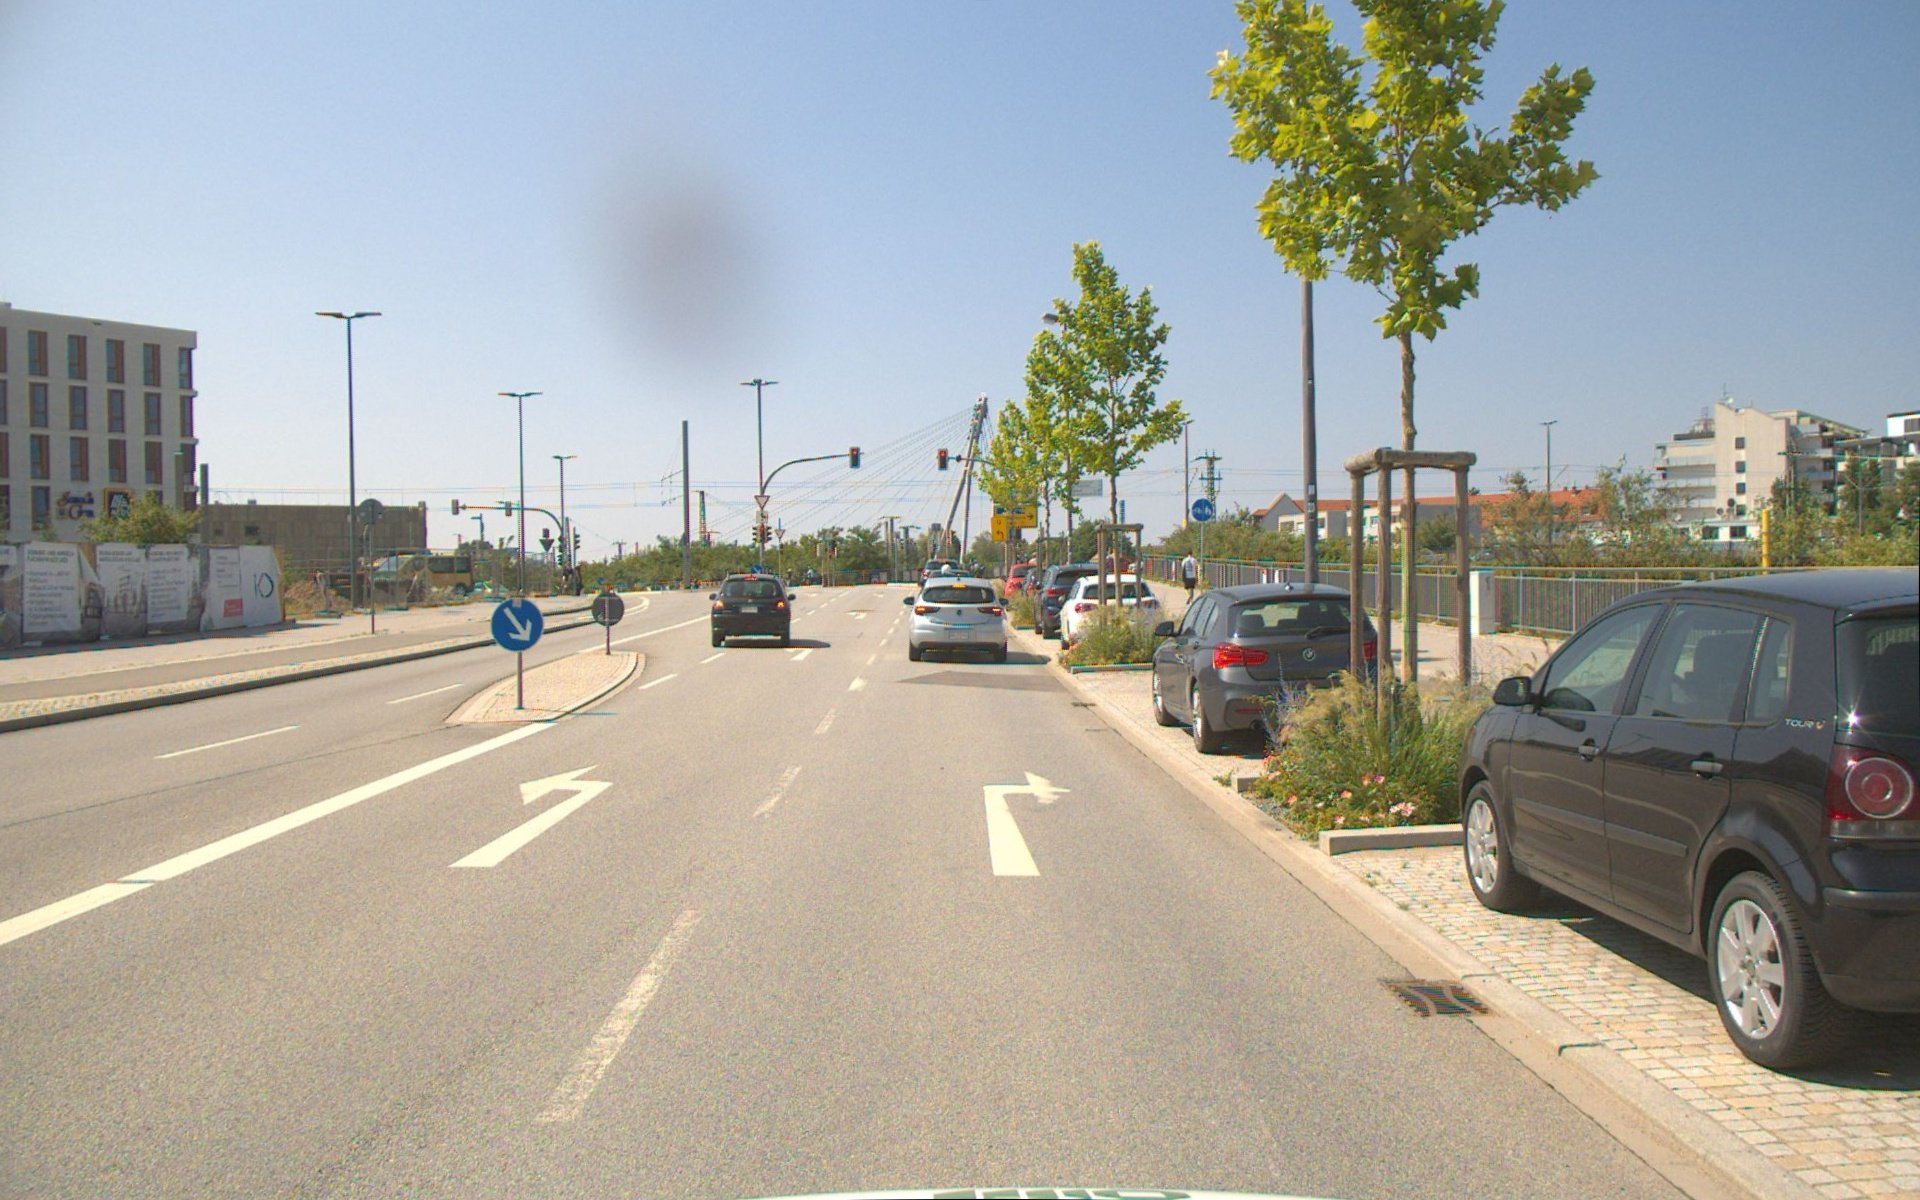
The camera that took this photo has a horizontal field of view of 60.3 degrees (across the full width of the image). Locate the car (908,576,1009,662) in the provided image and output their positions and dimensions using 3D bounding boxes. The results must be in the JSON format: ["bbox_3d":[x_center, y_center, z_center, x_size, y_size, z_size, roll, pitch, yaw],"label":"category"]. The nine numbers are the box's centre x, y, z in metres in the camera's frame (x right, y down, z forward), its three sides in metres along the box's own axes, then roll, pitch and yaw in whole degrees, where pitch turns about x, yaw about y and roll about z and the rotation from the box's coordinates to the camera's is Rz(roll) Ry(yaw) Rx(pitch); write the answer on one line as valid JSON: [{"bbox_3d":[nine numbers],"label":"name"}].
[{"bbox_3d":[-0.043,0.308,30.545,1.742,1.467,4.000,0,0,-1],"label":"car"}]

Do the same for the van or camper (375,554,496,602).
[{"bbox_3d":[-22.915,-0.942,72.391,1.964,1.930,4.689,0,-1,42],"label":"van or camper"}]

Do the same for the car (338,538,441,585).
[{"bbox_3d":[-25.681,-1.707,74.494,1.961,2.049,3.982,0,1,38],"label":"car"}]

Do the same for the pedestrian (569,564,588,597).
[{"bbox_3d":[-19.302,-0.982,83.644,0.828,1.675,0.827,0,0,-6],"label":"pedestrian"}]

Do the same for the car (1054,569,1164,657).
[{"bbox_3d":[2.767,0.209,31.467,1.662,1.501,4.205,-2,1,0],"label":"car"}]

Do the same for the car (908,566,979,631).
[{"bbox_3d":[-0.435,-0.078,43.353,1.742,1.596,4.000,-1,1,-1],"label":"car"}]

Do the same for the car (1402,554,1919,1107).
[{"bbox_3d":[3.212,0.616,6.500,1.670,1.488,3.951,-2,-1,-3],"label":"car"}]

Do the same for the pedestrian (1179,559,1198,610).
[{"bbox_3d":[7.354,-0.492,53.343,0.522,1.603,0.523,1,-1,-1],"label":"pedestrian"}]

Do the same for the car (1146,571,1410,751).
[{"bbox_3d":[2.869,0.513,15.805,1.669,1.426,4.269,-2,0,0],"label":"car"}]

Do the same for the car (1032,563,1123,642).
[{"bbox_3d":[2.650,0.017,37.974,1.785,1.645,3.611,-2,1,0],"label":"car"}]

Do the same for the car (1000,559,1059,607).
[{"bbox_3d":[2.304,-0.589,55.931,1.742,1.530,4.000,-1,1,-1],"label":"car"}]

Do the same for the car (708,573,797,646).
[{"bbox_3d":[-4.301,0.173,34.743,1.587,1.441,3.725,0,0,-3],"label":"car"}]

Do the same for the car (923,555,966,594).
[{"bbox_3d":[-0.648,-1.102,69.675,1.742,1.596,4.000,-1,1,-1],"label":"car"}]

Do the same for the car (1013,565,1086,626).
[{"bbox_3d":[2.528,-0.148,47.589,1.742,1.529,4.000,-5,1,-1],"label":"car"}]
